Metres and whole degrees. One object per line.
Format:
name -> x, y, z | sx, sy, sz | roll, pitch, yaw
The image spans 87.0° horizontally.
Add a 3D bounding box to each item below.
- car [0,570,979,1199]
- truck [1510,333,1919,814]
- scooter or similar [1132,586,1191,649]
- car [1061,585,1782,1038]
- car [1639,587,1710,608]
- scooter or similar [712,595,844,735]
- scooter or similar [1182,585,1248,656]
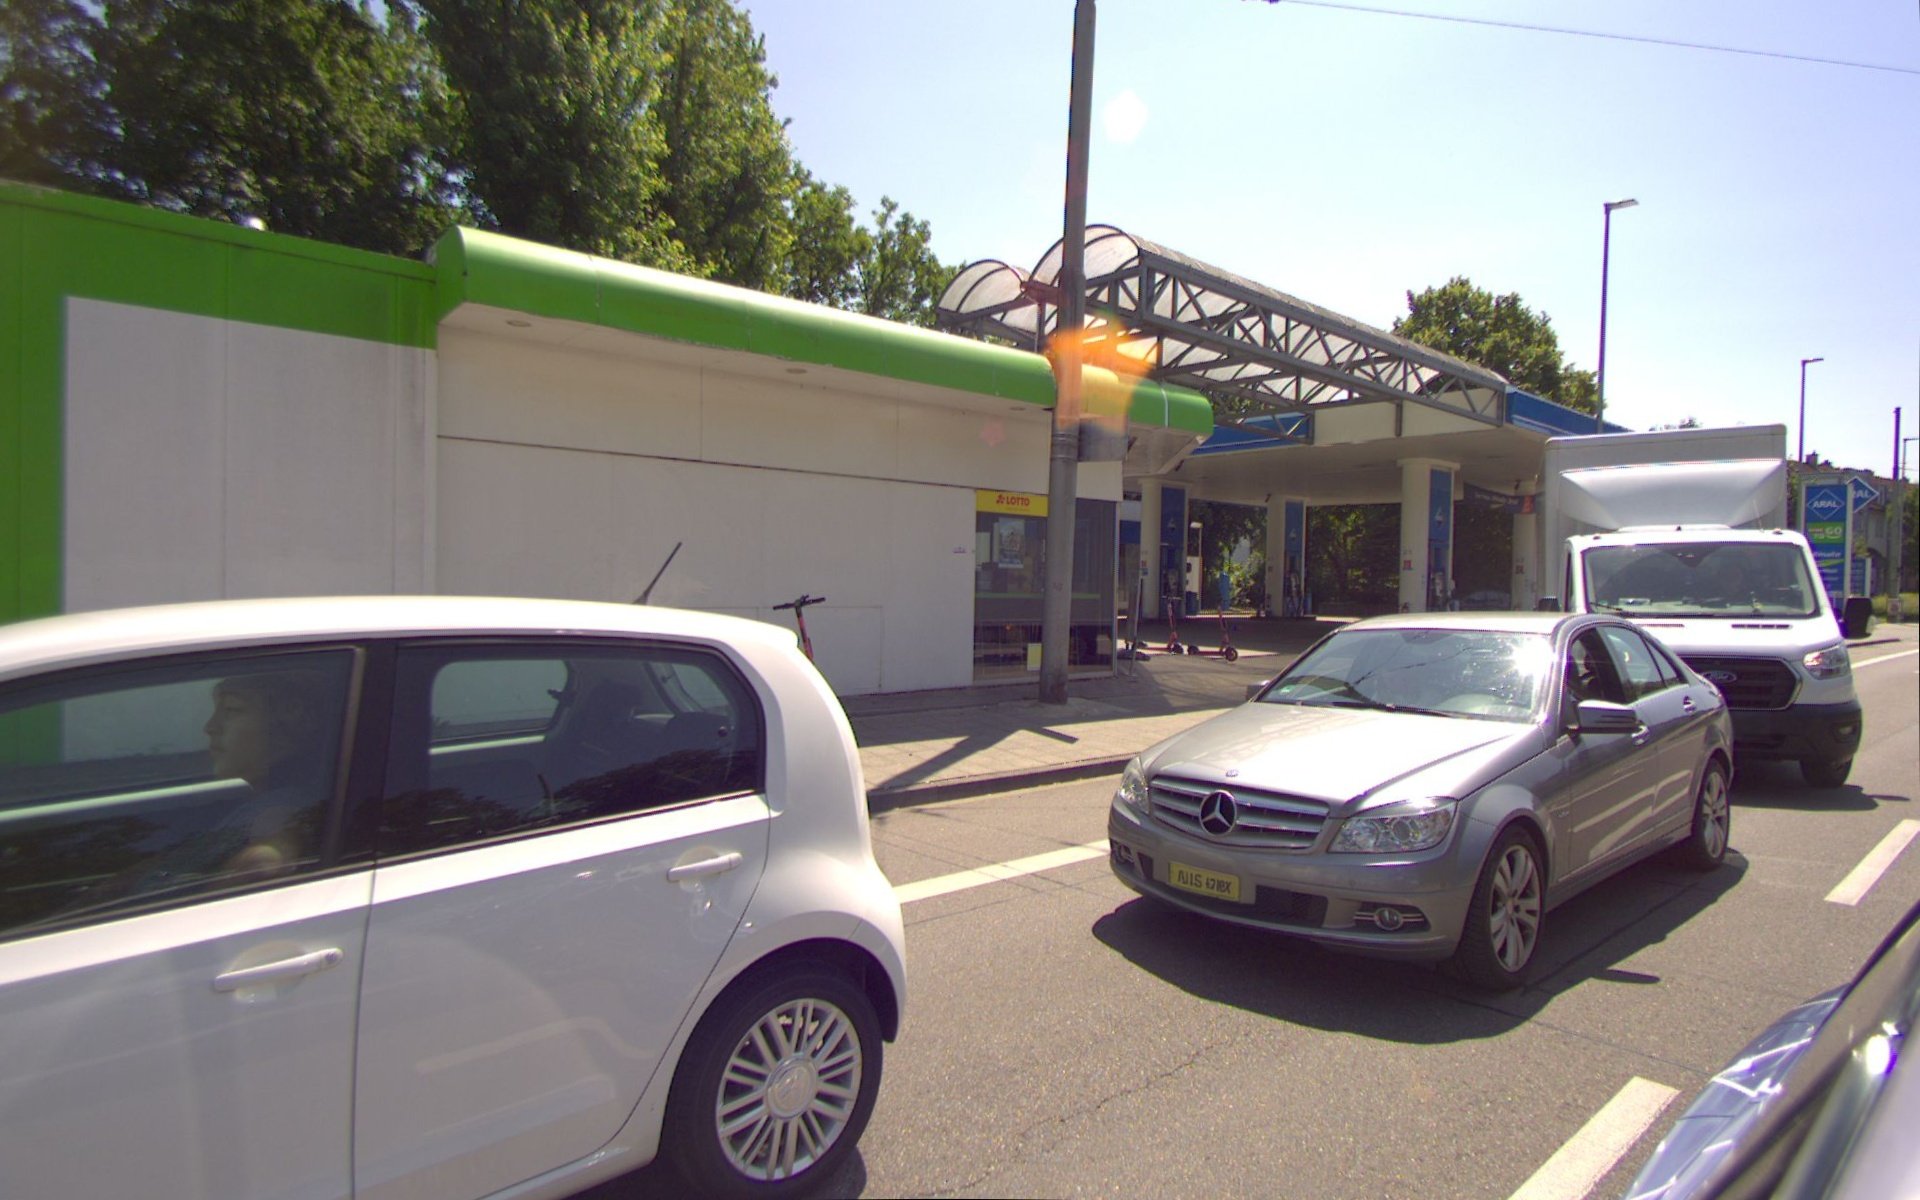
car -> -1.793, 0.677, 2.291 | 3.458, 1.469, 1.610 | 0, 1, -40
truck -> 7.676, -0.263, 11.146 | 2.403, 3.434, 7.764 | 1, 1, 26
scooter or similar -> 3.956, 0.326, 19.912 | 0.377, 1.191, 1.138 | 0, 1, -39
car -> 2.712, 0.681, 5.419 | 4.339, 1.467, 1.800 | 0, 1, -40
car -> 57.339, -0.224, 81.303 | 1.961, 1.540, 4.230 | 0, 1, -32
scooter or similar -> -1.676, 0.572, 9.364 | 1.117, 1.209, 0.384 | 0, 4, -36
scooter or similar -> 4.767, 0.365, 18.956 | 0.404, 1.256, 1.176 | 0, 1, -39
